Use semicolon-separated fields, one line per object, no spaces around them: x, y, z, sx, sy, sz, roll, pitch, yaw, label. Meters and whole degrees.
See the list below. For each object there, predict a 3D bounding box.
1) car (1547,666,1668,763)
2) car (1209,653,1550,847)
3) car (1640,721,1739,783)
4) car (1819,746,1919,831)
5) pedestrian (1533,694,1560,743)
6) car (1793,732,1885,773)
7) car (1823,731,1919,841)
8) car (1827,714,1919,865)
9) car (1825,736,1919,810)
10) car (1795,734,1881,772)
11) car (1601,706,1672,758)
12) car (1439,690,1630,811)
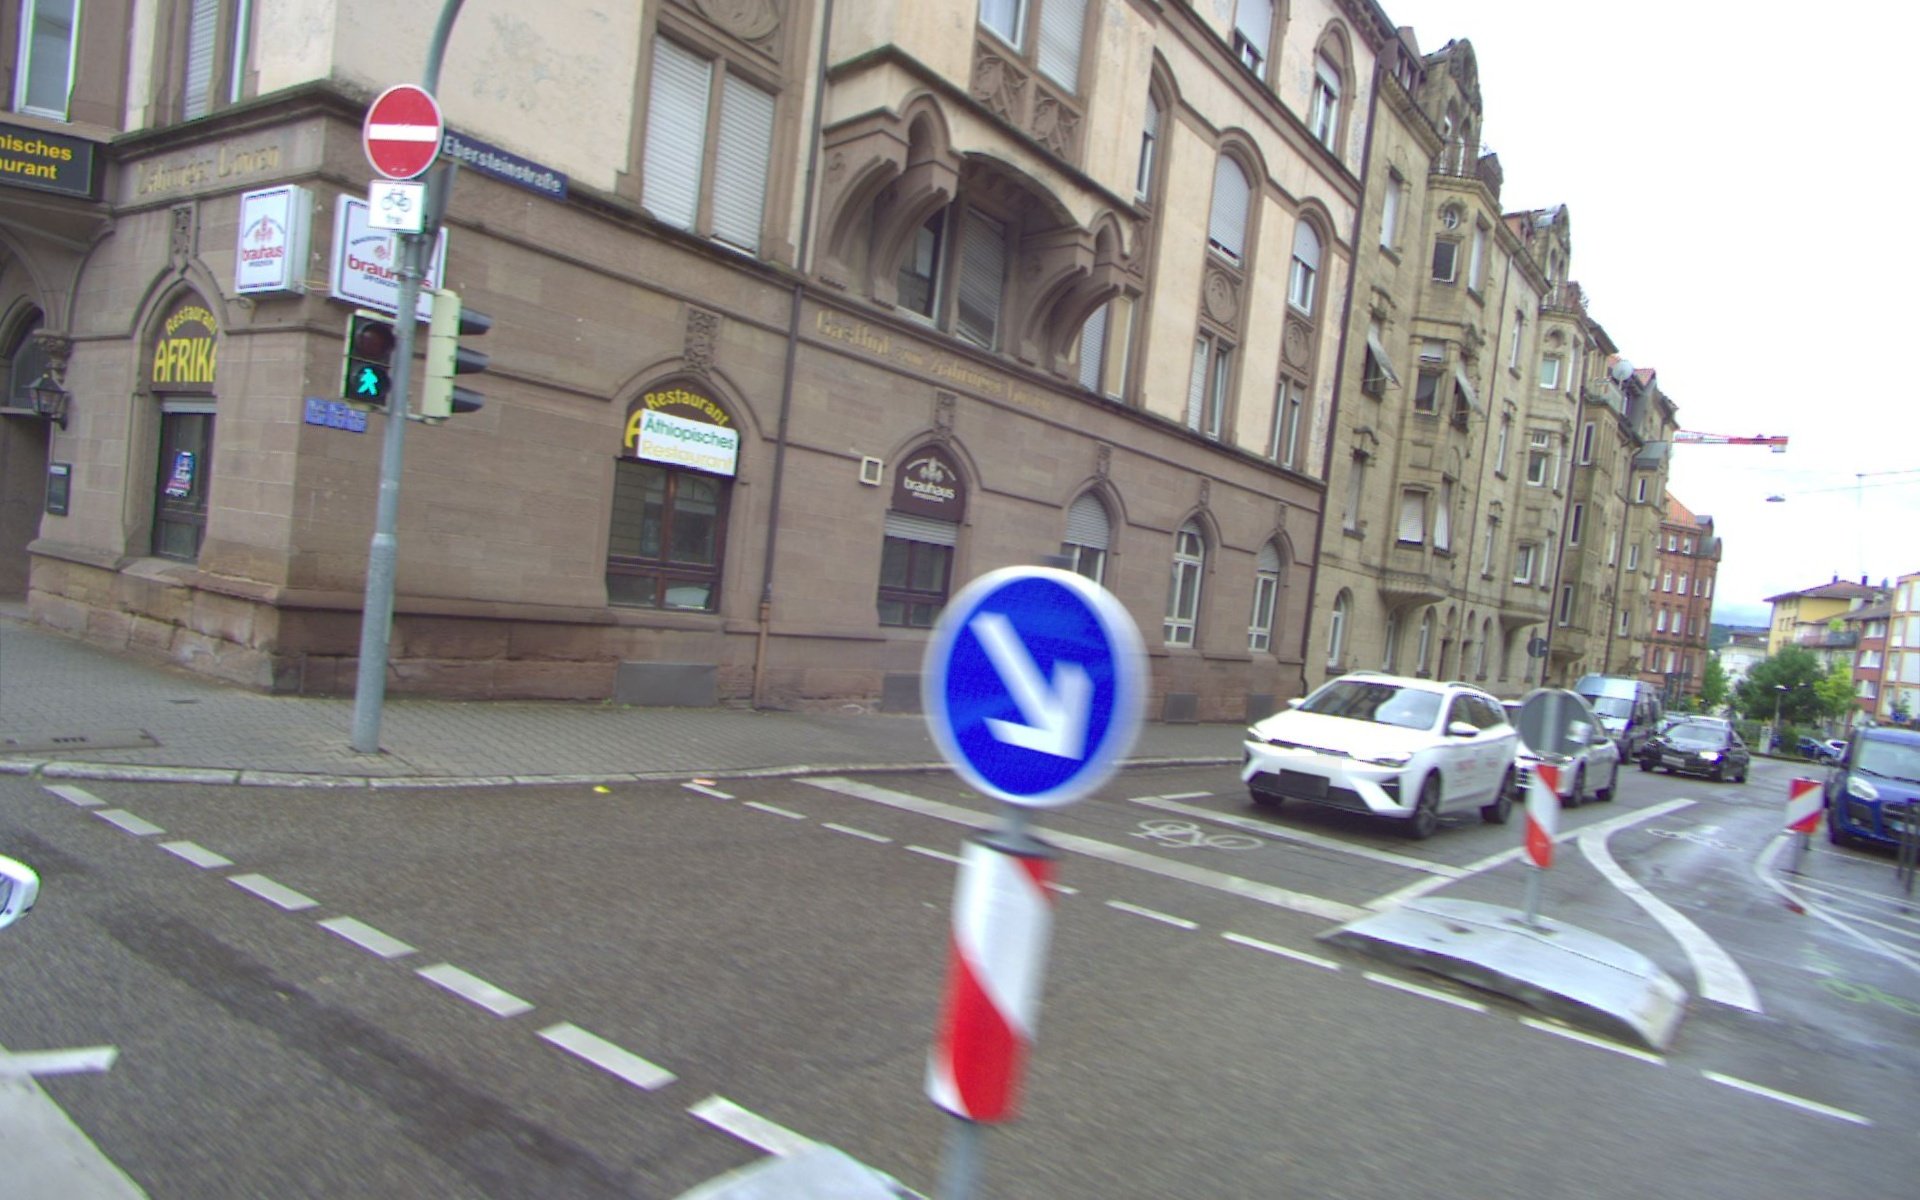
20.475;3.632;31.677;2.097;2.564;5.447;6;-2;43;car
4.797;1.597;11.097;1.818;1.527;4.550;6;-2;44;car
19.997;4.133;27.524;1.740;1.319;3.714;6;-2;42;car
21.028;4.275;23.186;1.687;1.459;3.915;8;-1;40;car
21.091;4.264;36.168;0.652;1.664;0.565;6;-1;37;pedestrian
52.812;9.114;60.506;3.949;1.740;1.810;6;-1;45;car
17.948;3.542;19.415;1.722;1.716;3.915;8;-1;40;car
14.551;2.879;15.297;1.816;1.922;4.162;8;-1;40;car
24.984;4.672;27.636;1.648;1.588;3.915;8;-1;40;car
56.715;9.883;65.051;1.690;1.707;3.770;7;-1;-21;car
25.552;4.985;37.945;1.648;1.588;3.915;8;-1;40;car
9.109;2.317;15.785;1.703;1.443;4.062;6;-2;42;car
